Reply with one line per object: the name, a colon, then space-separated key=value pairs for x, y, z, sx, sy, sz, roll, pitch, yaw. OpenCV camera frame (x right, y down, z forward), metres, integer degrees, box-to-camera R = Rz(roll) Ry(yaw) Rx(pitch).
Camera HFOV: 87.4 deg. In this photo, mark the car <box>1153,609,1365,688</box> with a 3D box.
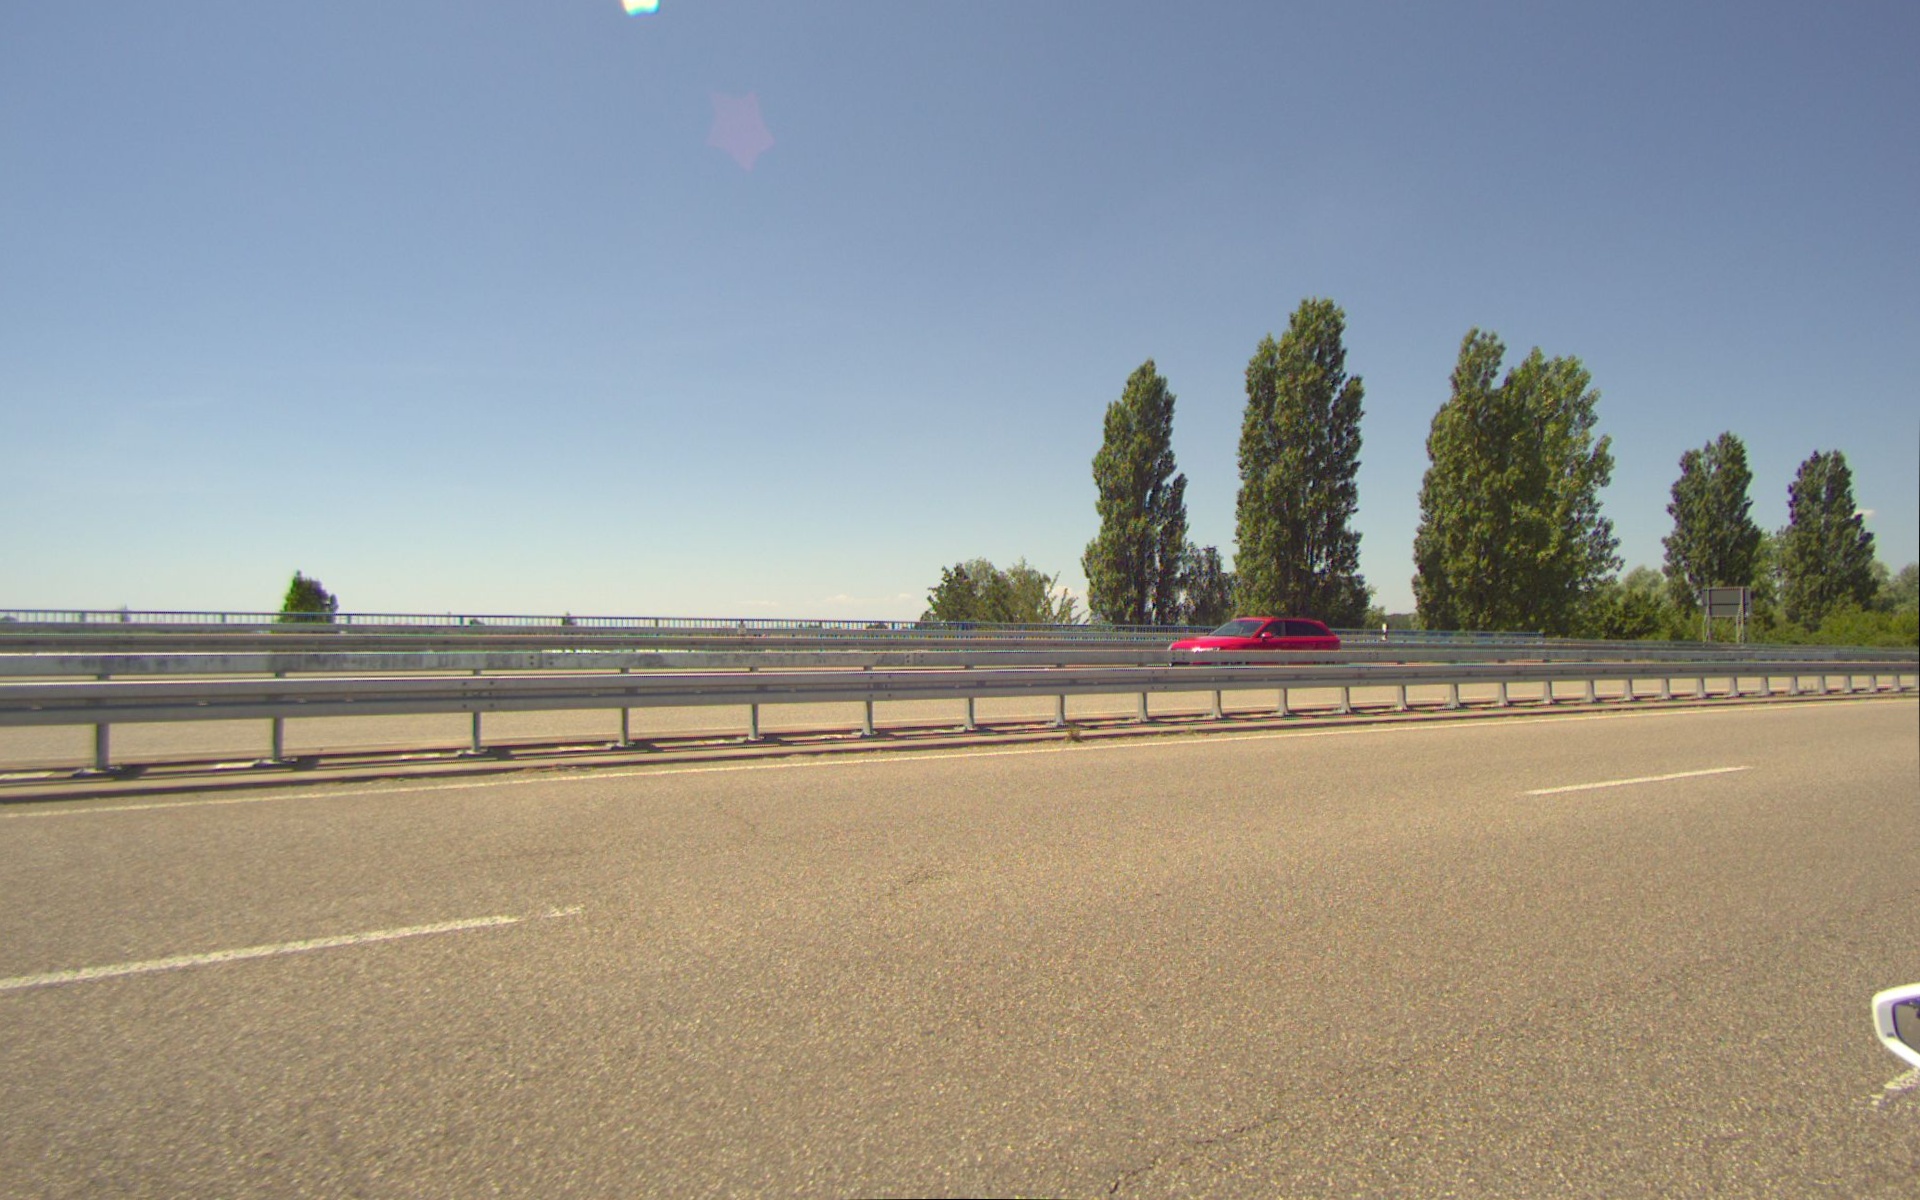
car: x=7.030 y=1.126 z=23.459 sx=4.992 sy=1.689 sz=1.834 roll=2 pitch=-1 yaw=-30
